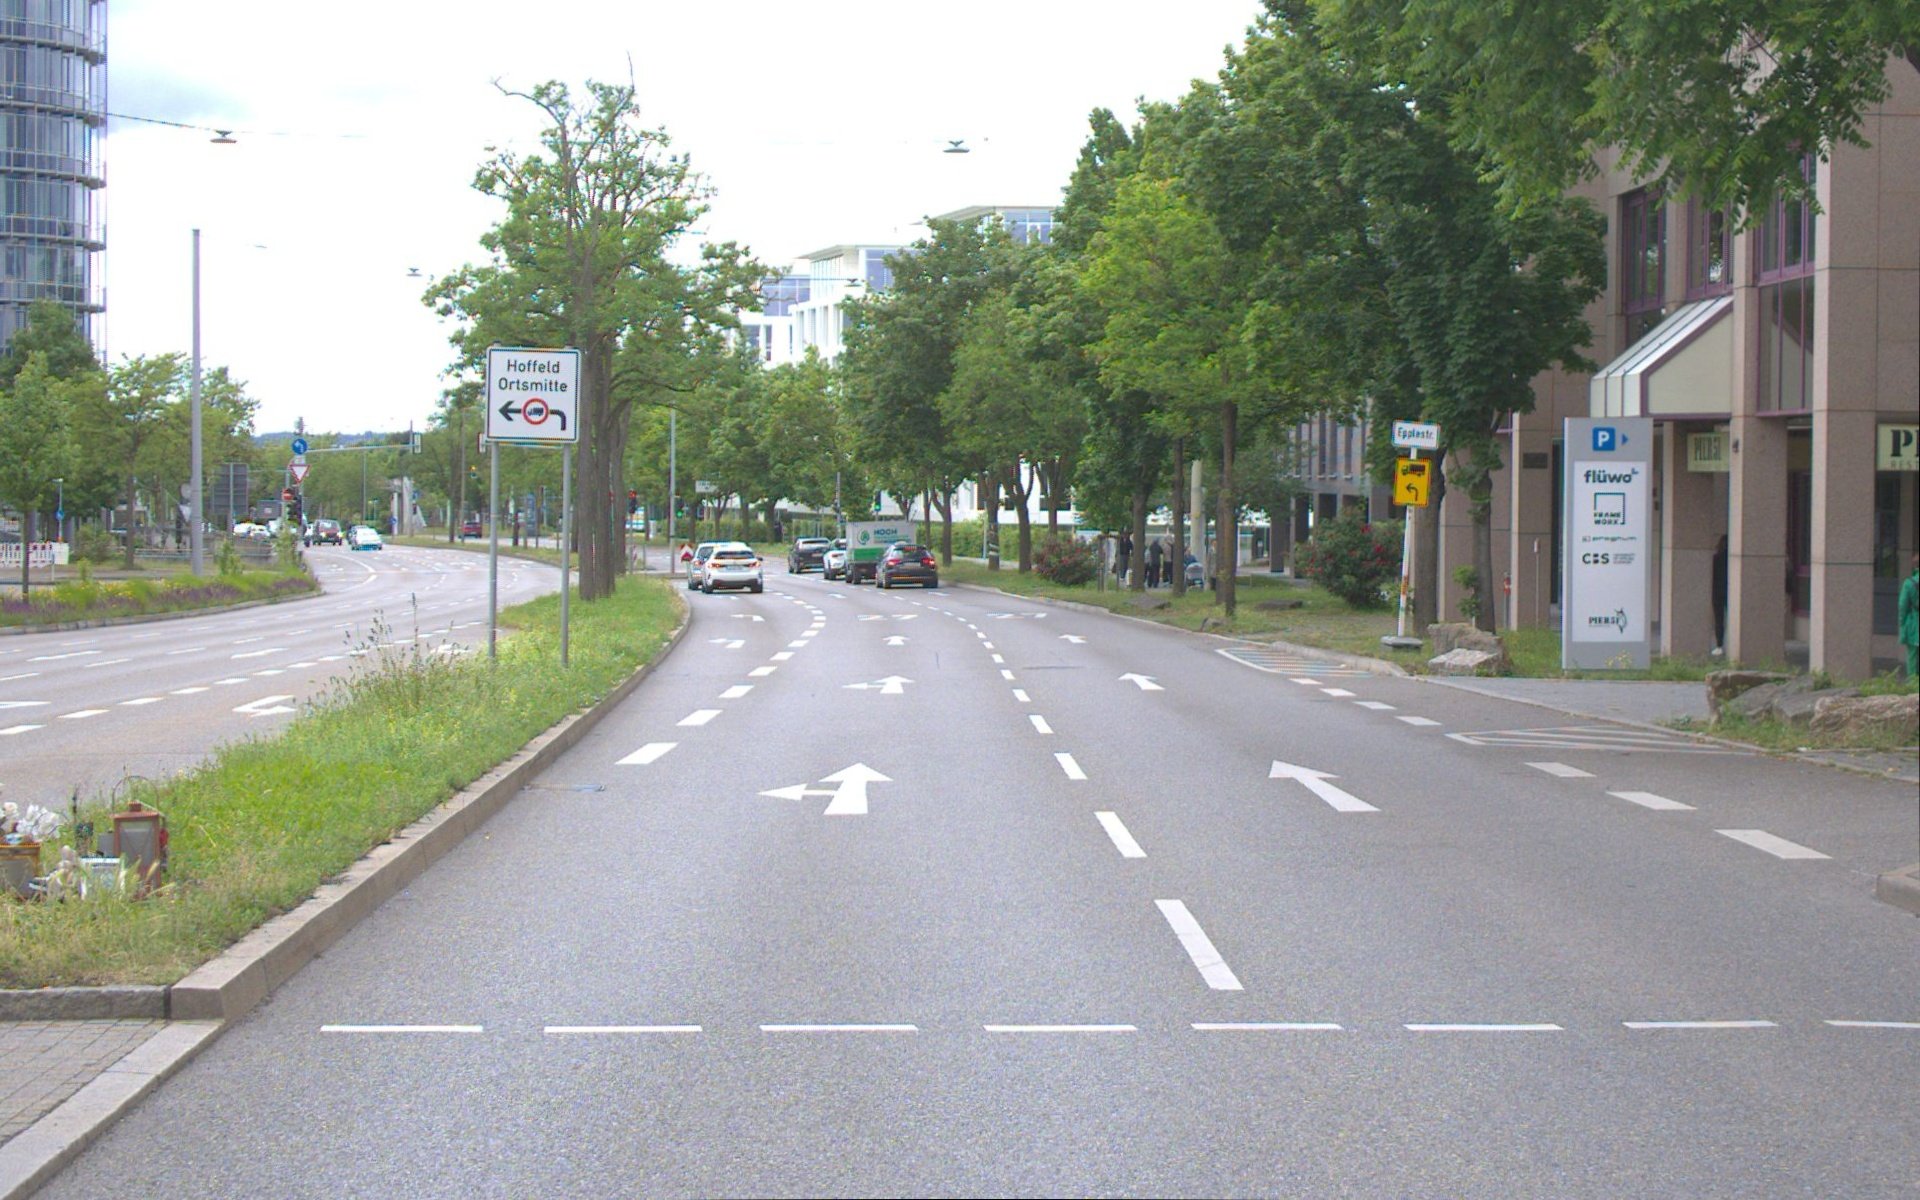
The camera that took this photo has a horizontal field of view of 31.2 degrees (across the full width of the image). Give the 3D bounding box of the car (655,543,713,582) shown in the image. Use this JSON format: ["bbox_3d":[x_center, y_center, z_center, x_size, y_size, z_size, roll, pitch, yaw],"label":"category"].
[{"bbox_3d":[-10.942,-1.502,136.603,1.993,1.503,4.000,0,1,0],"label":"car"}]

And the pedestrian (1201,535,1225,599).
[{"bbox_3d":[6.760,-0.879,91.972,0.567,1.694,0.829,0,0,-1],"label":"pedestrian"}]

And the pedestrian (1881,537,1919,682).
[{"bbox_3d":[10.324,0.099,37.127,0.561,1.544,0.544,-2,0,-1],"label":"pedestrian"}]

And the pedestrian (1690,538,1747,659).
[{"bbox_3d":[10.695,-0.026,48.496,0.595,1.699,0.969,0,1,0],"label":"pedestrian"}]

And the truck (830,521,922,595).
[{"bbox_3d":[-3.005,-1.460,121.408,2.859,2.511,6.288,0,0,-5],"label":"truck"}]

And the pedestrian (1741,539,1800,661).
[{"bbox_3d":[11.418,-0.006,48.450,0.595,1.699,0.969,0,1,0],"label":"pedestrian"}]

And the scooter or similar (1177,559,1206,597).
[{"bbox_3d":[6.122,-0.580,90.916,0.583,0.990,0.847,-2,1,-9],"label":"scooter or similar"}]

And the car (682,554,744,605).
[{"bbox_3d":[-8.233,-0.690,114.231,1.993,1.666,4.001,0,0,-5],"label":"car"}]

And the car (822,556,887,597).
[{"bbox_3d":[-3.951,-0.894,128.119,1.993,1.503,4.001,-1,1,-8],"label":"car"}]

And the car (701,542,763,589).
[{"bbox_3d":[-7.217,-1.081,108.480,1.863,1.444,4.001,0,0,-5],"label":"car"}]

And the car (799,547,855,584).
[{"bbox_3d":[-5.576,-1.440,143.792,1.993,1.503,4.001,0,0,-7],"label":"car"}]

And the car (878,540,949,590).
[{"bbox_3d":[-1.533,-1.137,111.599,1.993,1.590,4.001,0,1,-5],"label":"car"}]
